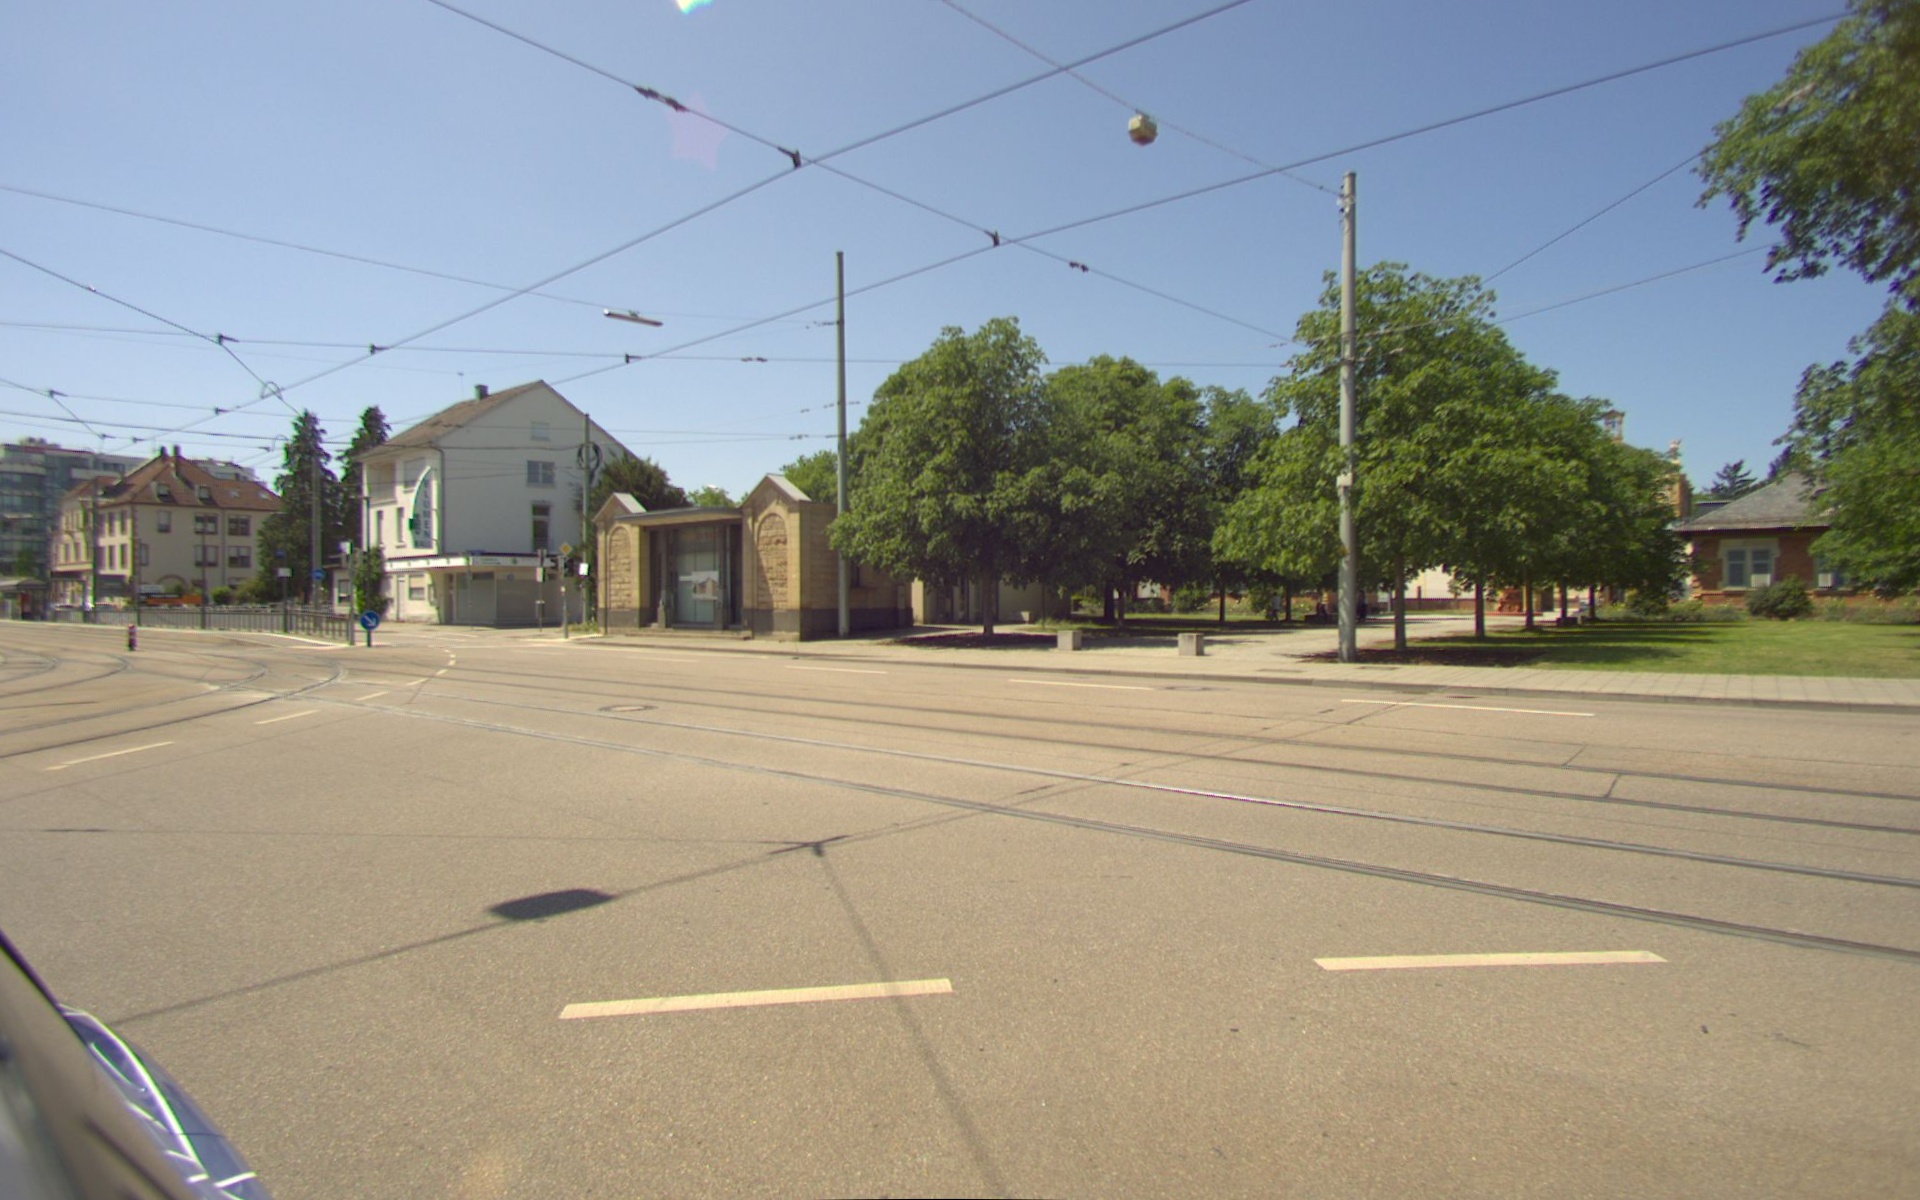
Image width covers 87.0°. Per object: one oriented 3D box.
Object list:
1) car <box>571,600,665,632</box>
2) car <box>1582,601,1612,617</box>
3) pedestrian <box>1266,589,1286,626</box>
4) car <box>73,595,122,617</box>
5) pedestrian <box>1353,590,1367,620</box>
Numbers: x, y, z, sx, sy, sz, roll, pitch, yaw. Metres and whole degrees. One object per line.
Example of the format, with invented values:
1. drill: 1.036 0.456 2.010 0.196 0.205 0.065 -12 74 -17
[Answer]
1. car: -16.340 0.743 48.439 1.824 1.463 3.902 -1 0 44
2. car: 39.173 0.557 62.197 1.329 0.959 2.702 0 0 38
3. pedestrian: 14.410 0.352 46.094 0.712 1.660 0.521 -1 0 39
4. car: -61.868 0.424 72.575 4.492 1.501 1.801 0 0 38
5. pedestrian: 20.529 0.259 51.915 0.531 1.494 0.522 -1 0 37
